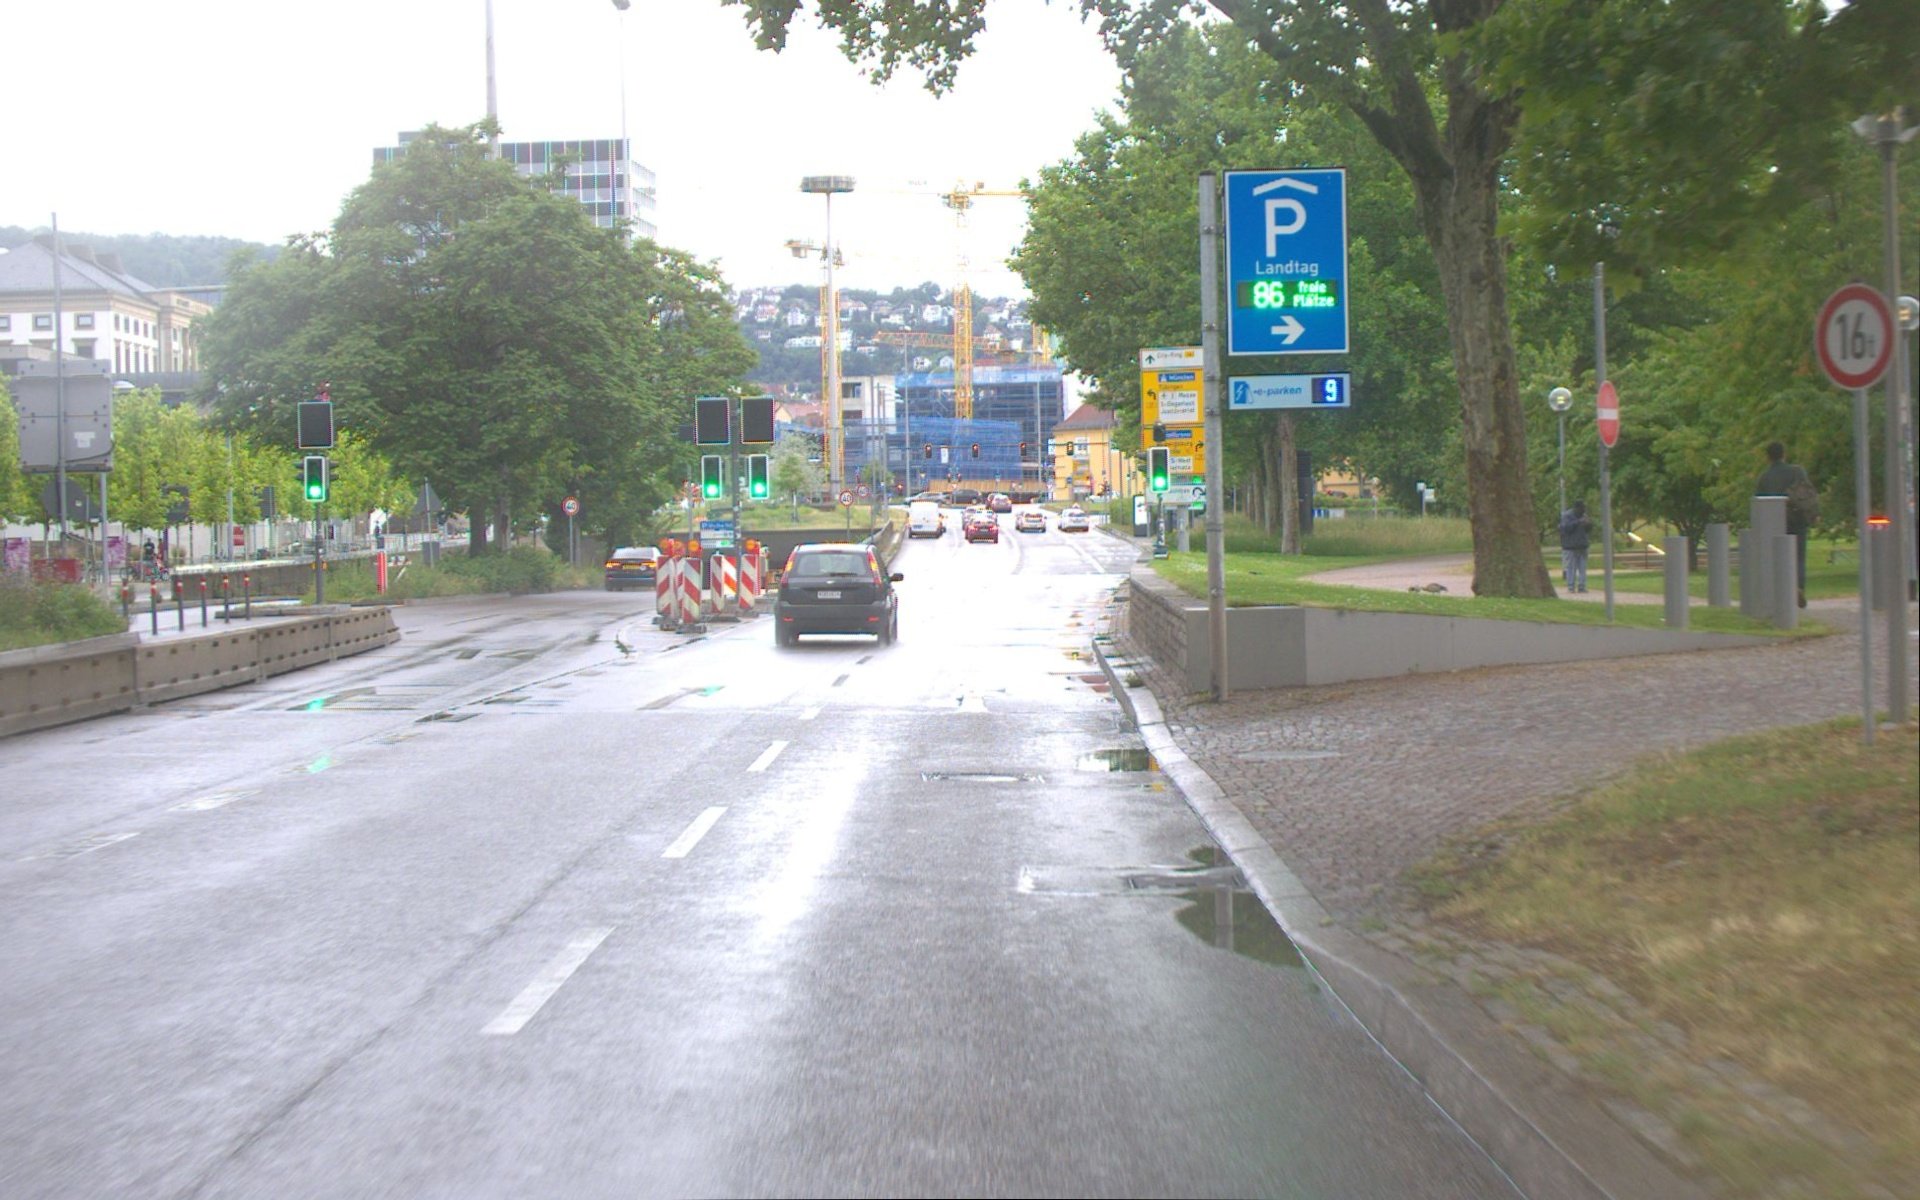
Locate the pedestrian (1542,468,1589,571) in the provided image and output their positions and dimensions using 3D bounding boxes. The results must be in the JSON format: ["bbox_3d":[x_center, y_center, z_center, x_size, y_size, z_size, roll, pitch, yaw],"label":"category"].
[{"bbox_3d":[10.487,-1.398,59.518,0.594,1.749,0.725,-3,2,-2],"label":"pedestrian"}]

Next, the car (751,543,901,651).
[{"bbox_3d":[-1.964,-0.048,49.424,1.843,1.411,3.840,-3,0,-6],"label":"car"}]

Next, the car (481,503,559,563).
[{"bbox_3d":[-12.418,-1.883,97.185,1.993,1.626,4.001,-1,1,-5],"label":"car"}]

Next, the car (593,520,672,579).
[{"bbox_3d":[-10.305,-1.607,108.367,1.993,1.774,4.000,-1,1,1],"label":"car"}]

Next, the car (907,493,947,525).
[{"bbox_3d":[-2.131,-5.936,223.503,2.220,2.006,4.000,-1,2,5],"label":"car"}]

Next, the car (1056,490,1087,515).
[{"bbox_3d":[7.858,-6.845,241.950,1.994,1.594,4.000,-3,0,3],"label":"car"}]

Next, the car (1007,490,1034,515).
[{"bbox_3d":[4.300,-6.942,245.145,1.713,1.684,3.849,-3,0,3],"label":"car"}]

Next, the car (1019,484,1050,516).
[{"bbox_3d":[5.193,-6.960,239.505,1.987,2.007,4.000,-3,0,0],"label":"car"}]

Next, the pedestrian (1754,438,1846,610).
[{"bbox_3d":[8.566,-0.777,35.067,0.705,1.712,0.692,-3,1,1],"label":"pedestrian"}]

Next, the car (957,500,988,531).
[{"bbox_3d":[0.788,-5.161,211.270,1.739,1.765,4.000,-3,0,1],"label":"car"}]
